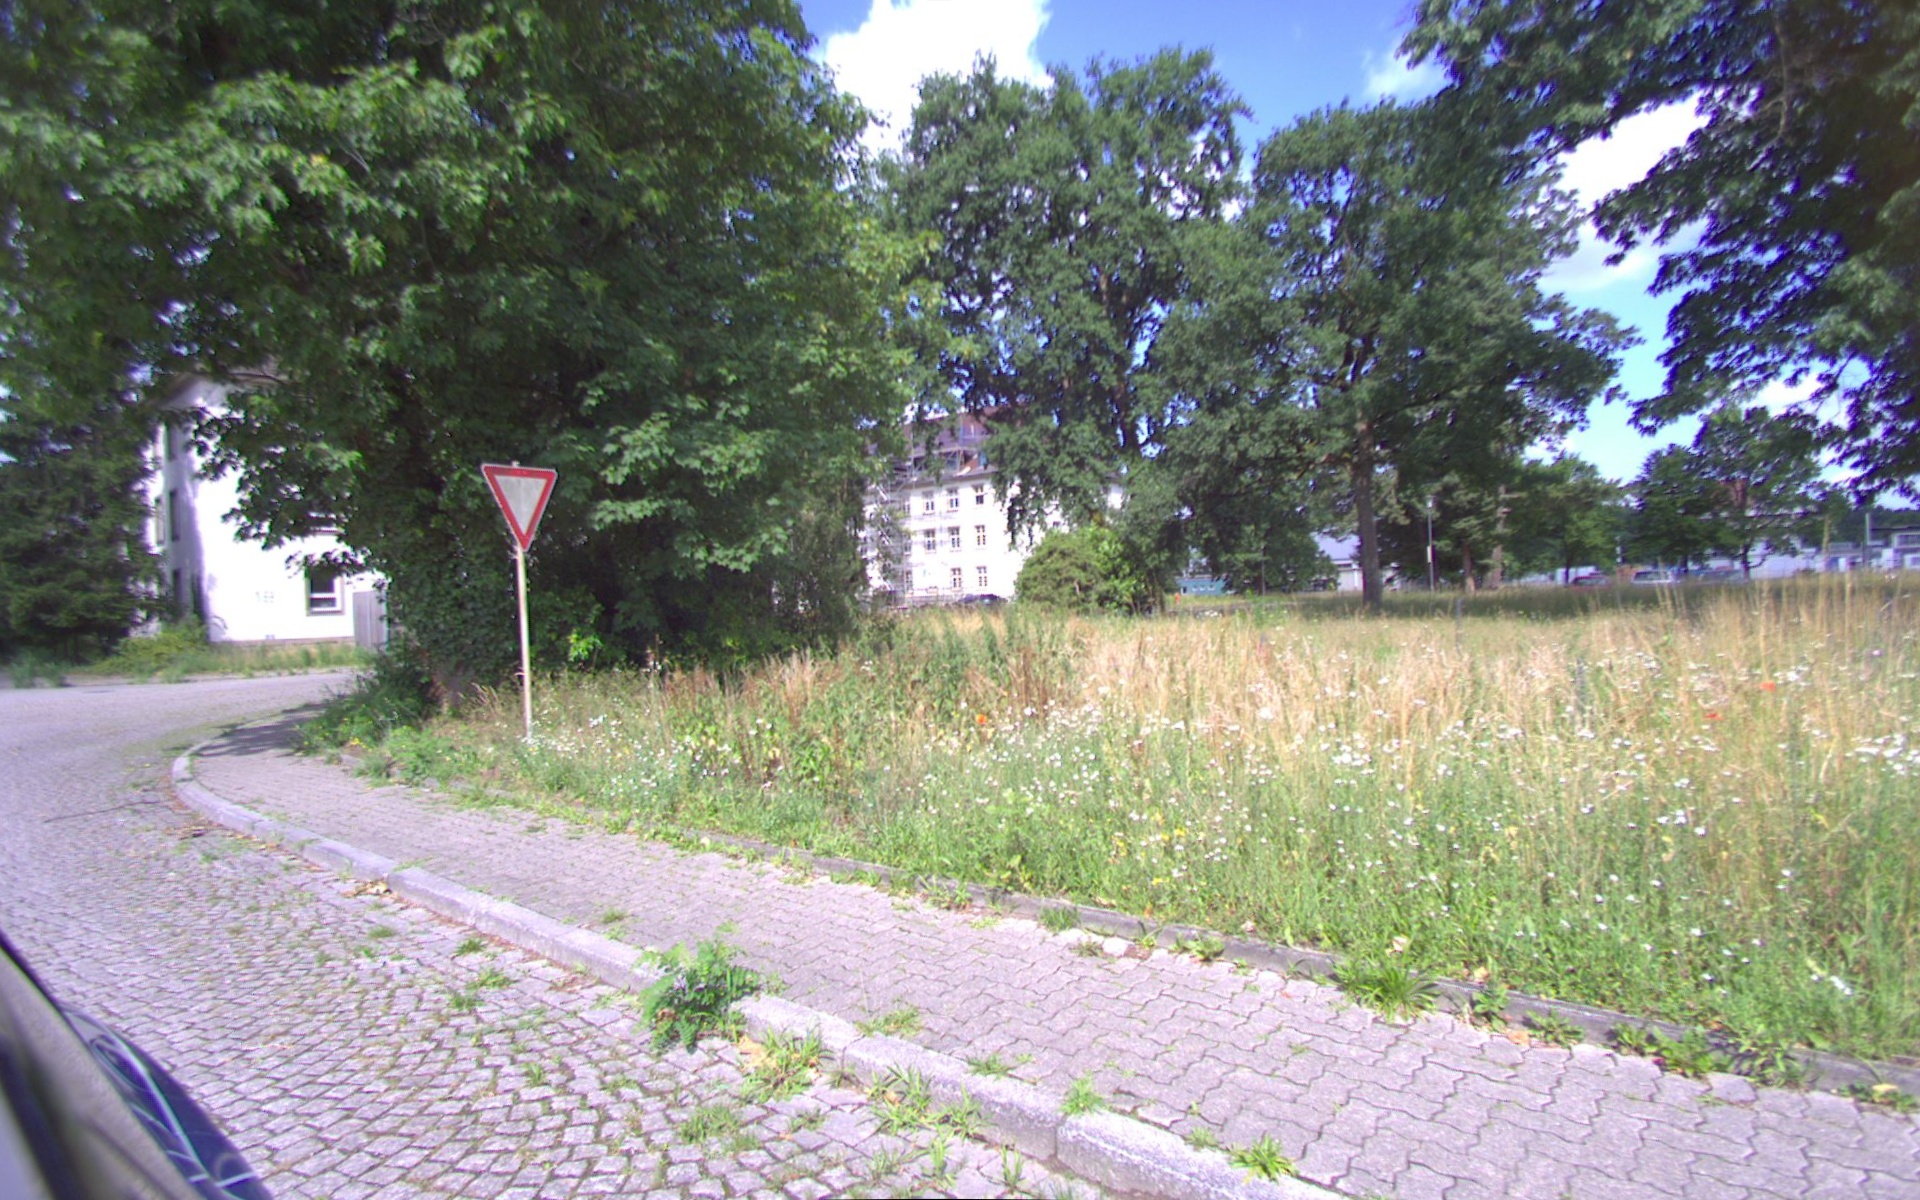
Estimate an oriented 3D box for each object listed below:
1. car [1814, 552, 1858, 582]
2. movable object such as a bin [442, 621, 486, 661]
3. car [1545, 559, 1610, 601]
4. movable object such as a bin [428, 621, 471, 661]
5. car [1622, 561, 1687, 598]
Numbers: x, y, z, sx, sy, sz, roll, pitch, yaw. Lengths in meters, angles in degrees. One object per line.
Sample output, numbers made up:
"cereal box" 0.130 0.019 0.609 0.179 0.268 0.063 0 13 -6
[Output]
"car" 54.834 -2.037 63.400 1.899 1.715 4.026 -3 -1 39
"movable object such as a bin" -19.703 1.625 40.224 1.151 1.542 1.158 -3 -1 38
"car" 27.254 -0.857 44.616 1.899 1.704 4.018 -3 -1 39
"movable object such as a bin" -20.650 1.666 40.964 1.151 1.542 1.158 -3 -1 38
"car" 29.466 -0.857 42.872 1.899 1.423 4.018 -3 -1 39
